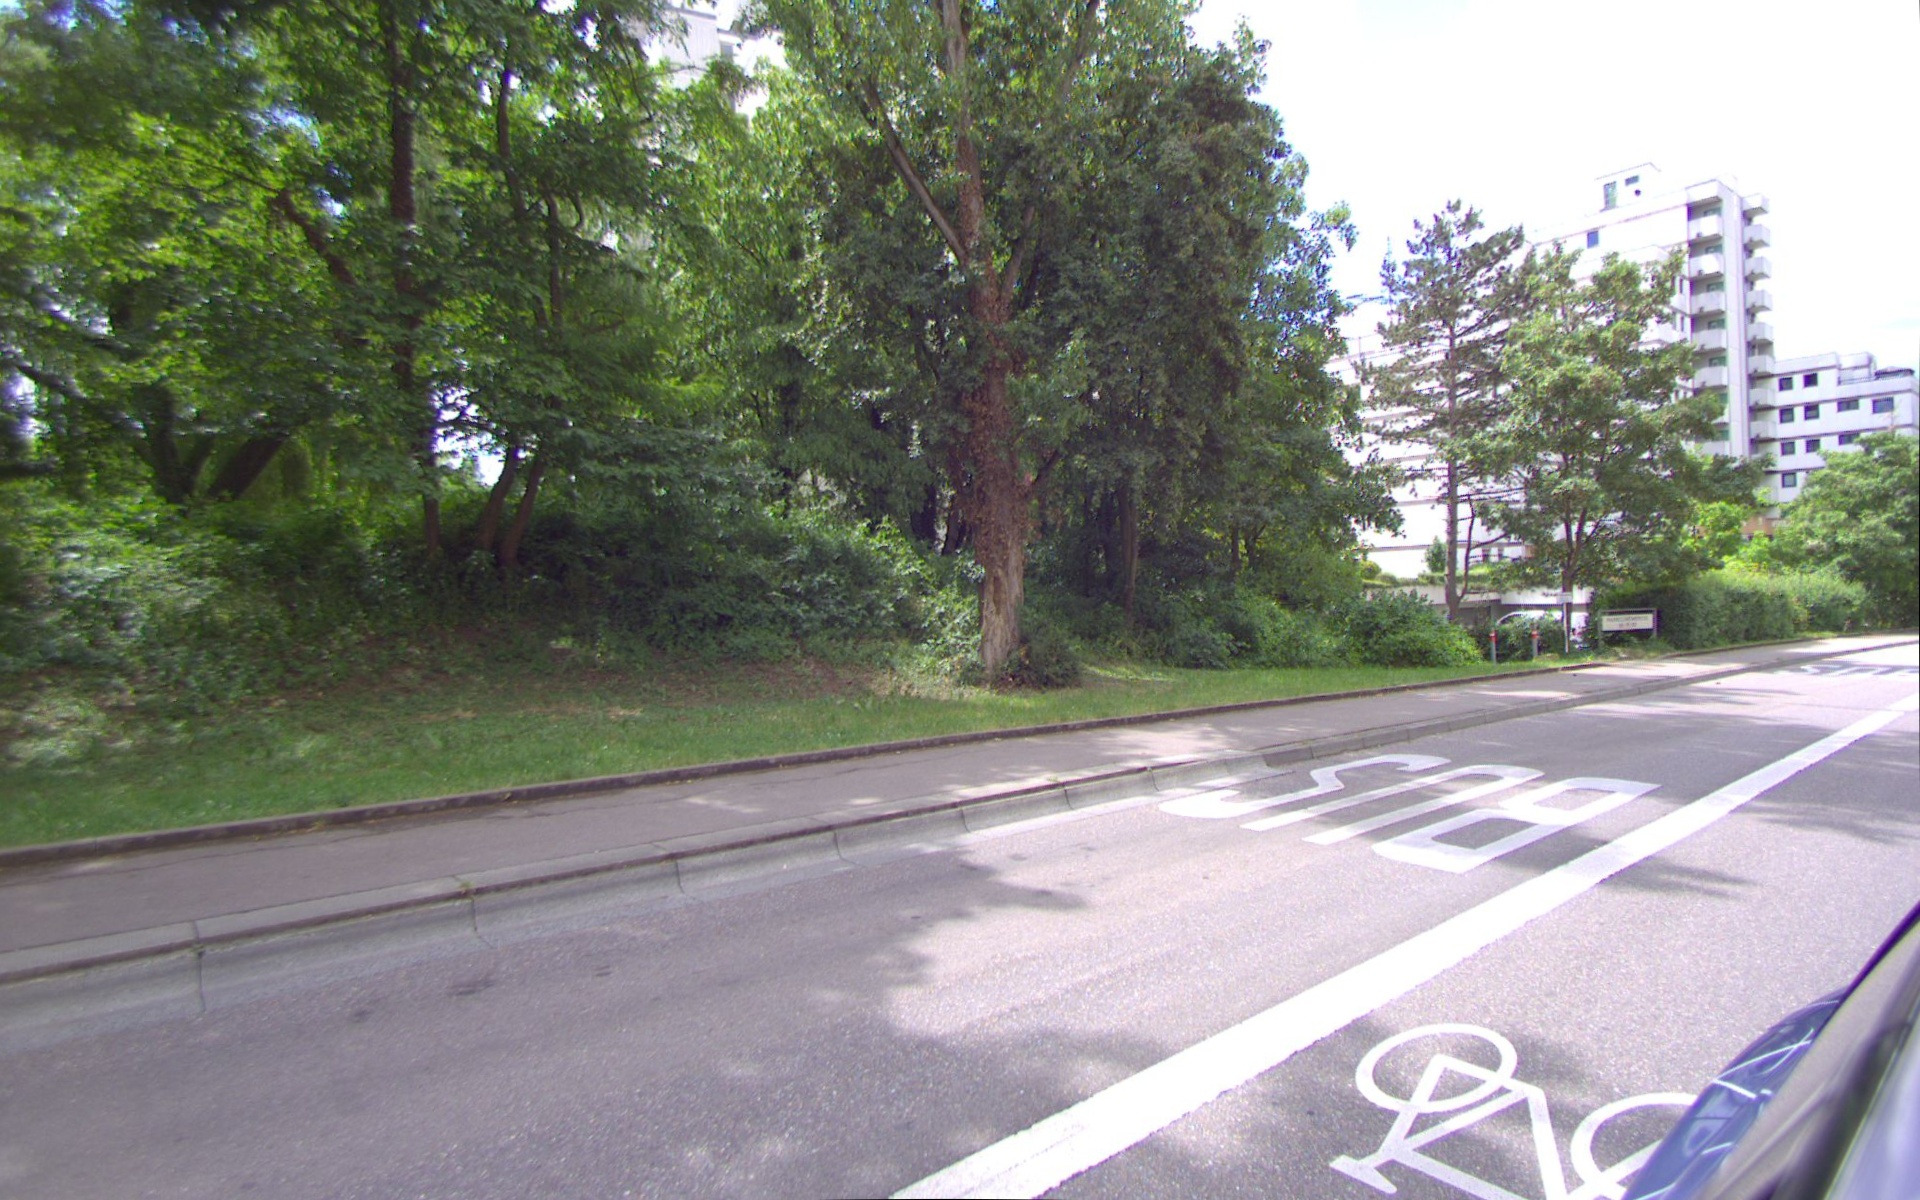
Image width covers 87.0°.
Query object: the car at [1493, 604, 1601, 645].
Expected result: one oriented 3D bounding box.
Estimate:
[{"bbox_3d":[31.025,1.239,53.641,1.962,2.039,4.549,-1,0,-34],"label":"car"}]
